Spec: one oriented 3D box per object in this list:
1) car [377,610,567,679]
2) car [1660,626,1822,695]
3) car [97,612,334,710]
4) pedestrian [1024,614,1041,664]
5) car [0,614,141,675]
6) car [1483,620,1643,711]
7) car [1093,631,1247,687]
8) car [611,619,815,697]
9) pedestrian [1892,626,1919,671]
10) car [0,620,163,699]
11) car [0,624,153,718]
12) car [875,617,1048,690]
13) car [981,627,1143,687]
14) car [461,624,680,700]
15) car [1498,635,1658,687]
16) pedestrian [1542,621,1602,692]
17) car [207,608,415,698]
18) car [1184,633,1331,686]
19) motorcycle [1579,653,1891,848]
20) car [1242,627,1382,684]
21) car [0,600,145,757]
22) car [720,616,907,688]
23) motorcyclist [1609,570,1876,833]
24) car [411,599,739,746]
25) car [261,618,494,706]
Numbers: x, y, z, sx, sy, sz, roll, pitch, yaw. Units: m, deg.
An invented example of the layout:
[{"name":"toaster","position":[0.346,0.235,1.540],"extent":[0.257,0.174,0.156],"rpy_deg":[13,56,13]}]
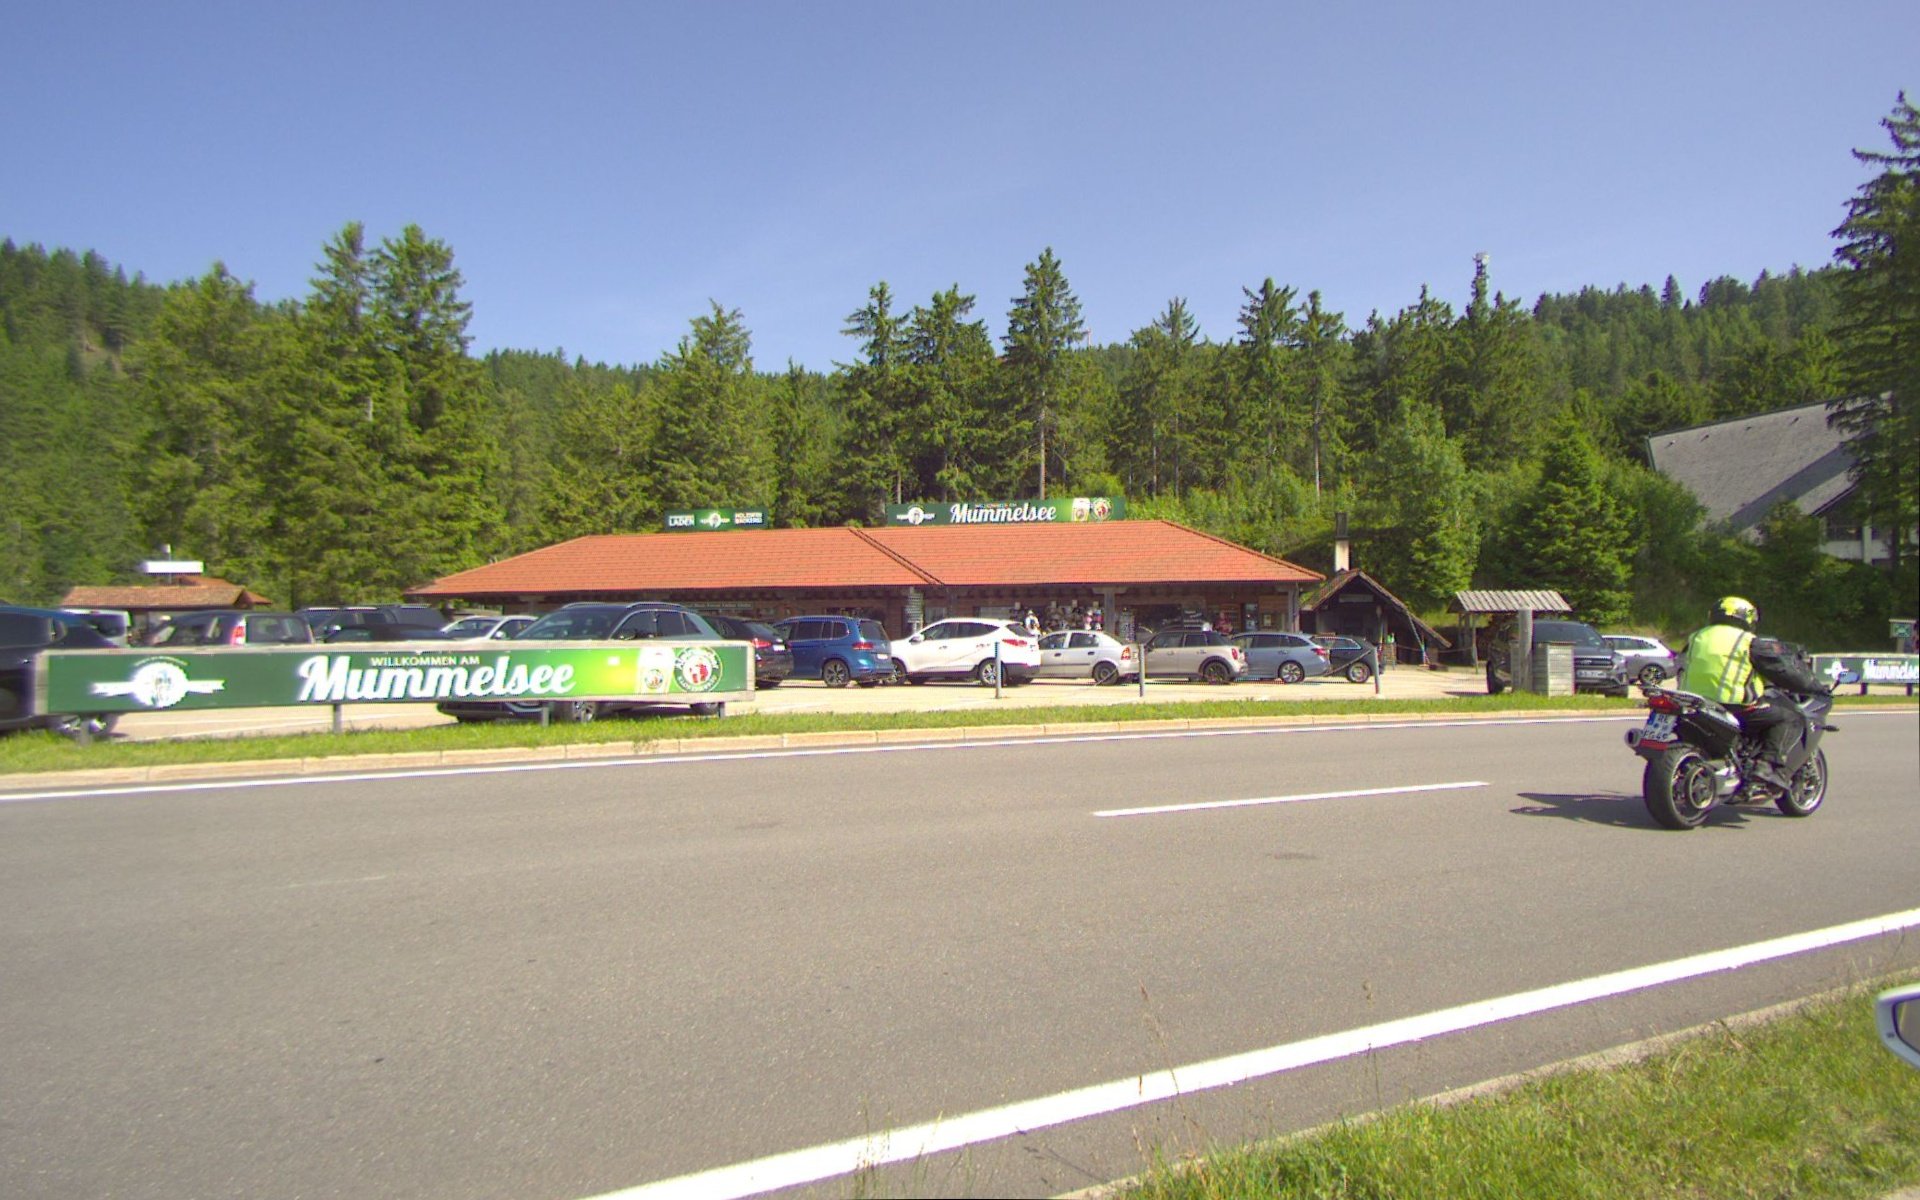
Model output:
[{"name":"car","position":[-11.962,1.104,24.693],"extent":[3.921,1.594,2.001],"rpy_deg":[-1,-2,18]},{"name":"car","position":[17.938,1.365,23.288],"extent":[1.709,1.460,3.971],"rpy_deg":[-1,-2,19]},{"name":"car","position":[-13.338,1.071,18.015],"extent":[3.660,1.609,1.735],"rpy_deg":[-2,-2,21]},{"name":"pedestrian","position":[2.825,1.515,39.164],"extent":[0.518,1.898,0.547],"rpy_deg":[1,-1,19]},{"name":"car","position":[-24.420,1.195,27.066],"extent":[3.804,1.550,1.911],"rpy_deg":[-2,-2,18]},{"name":"car","position":[12.470,1.294,21.065],"extent":[1.753,1.655,4.213],"rpy_deg":[1,-2,15]},{"name":"car","position":[5.772,1.627,27.604],"extent":[3.923,1.438,1.685],"rpy_deg":[-2,-3,22]},{"name":"car","position":[-5.414,1.260,22.109],"extent":[3.922,1.594,2.000],"rpy_deg":[-2,-2,21]},{"name":"pedestrian","position":[33.366,1.717,35.392],"extent":[0.545,1.553,0.575],"rpy_deg":[0,-1,-25]},{"name":"car","position":[-19.459,1.256,21.445],"extent":[3.921,1.572,2.001],"rpy_deg":[-1,-2,18]},{"name":"car","position":[-15.441,1.127,16.381],"extent":[3.922,1.389,1.812],"rpy_deg":[-2,-2,20]},{"name":"car","position":[0.044,1.342,24.989],"extent":[3.951,1.693,1.777],"rpy_deg":[-1,-3,20]},{"name":"car","position":[2.701,1.504,26.527],"extent":[3.946,1.487,1.777],"rpy_deg":[-1,-3,20]},{"name":"car","position":[-7.969,1.260,20.609],"extent":[3.922,1.438,1.908],"rpy_deg":[-2,-2,21]},{"name":"car","position":[19.198,1.878,31.390],"extent":[3.920,1.514,1.685],"rpy_deg":[-1,0,15]},{"name":"pedestrian","position":[15.490,1.411,25.430],"extent":[0.947,1.757,0.894],"rpy_deg":[0,-1,-25]},{"name":"car","position":[-14.958,1.224,23.214],"extent":[3.921,1.929,2.001],"rpy_deg":[-1,-2,18]},{"name":"car","position":[8.594,1.725,29.010],"extent":[3.922,1.438,1.685],"rpy_deg":[-2,-3,22]},{"name":"motorcycle","position":[5.601,1.005,7.241],"extent":[2.255,1.193,0.819],"rpy_deg":[1,0,-25]},{"name":"car","position":[10.817,1.695,30.867],"extent":[3.923,1.639,1.999],"rpy_deg":[-2,-2,23]},{"name":"car","position":[-10.696,0.788,9.725],"extent":[1.750,1.572,3.996],"rpy_deg":[-1,-2,26]},{"name":"car","position":[-3.450,1.228,23.797],"extent":[3.922,1.594,2.000],"rpy_deg":[-2,-2,21]},{"name":"motorcyclist","position":[5.602,0.664,7.222],"extent":[1.275,1.697,1.023],"rpy_deg":[1,0,-24]},{"name":"car","position":[-4.752,0.832,13.081],"extent":[1.706,1.588,4.059],"rpy_deg":[0,-1,21]},{"name":"car","position":[-11.297,1.180,19.499],"extent":[3.923,1.565,1.899],"rpy_deg":[-2,-2,22]}]
